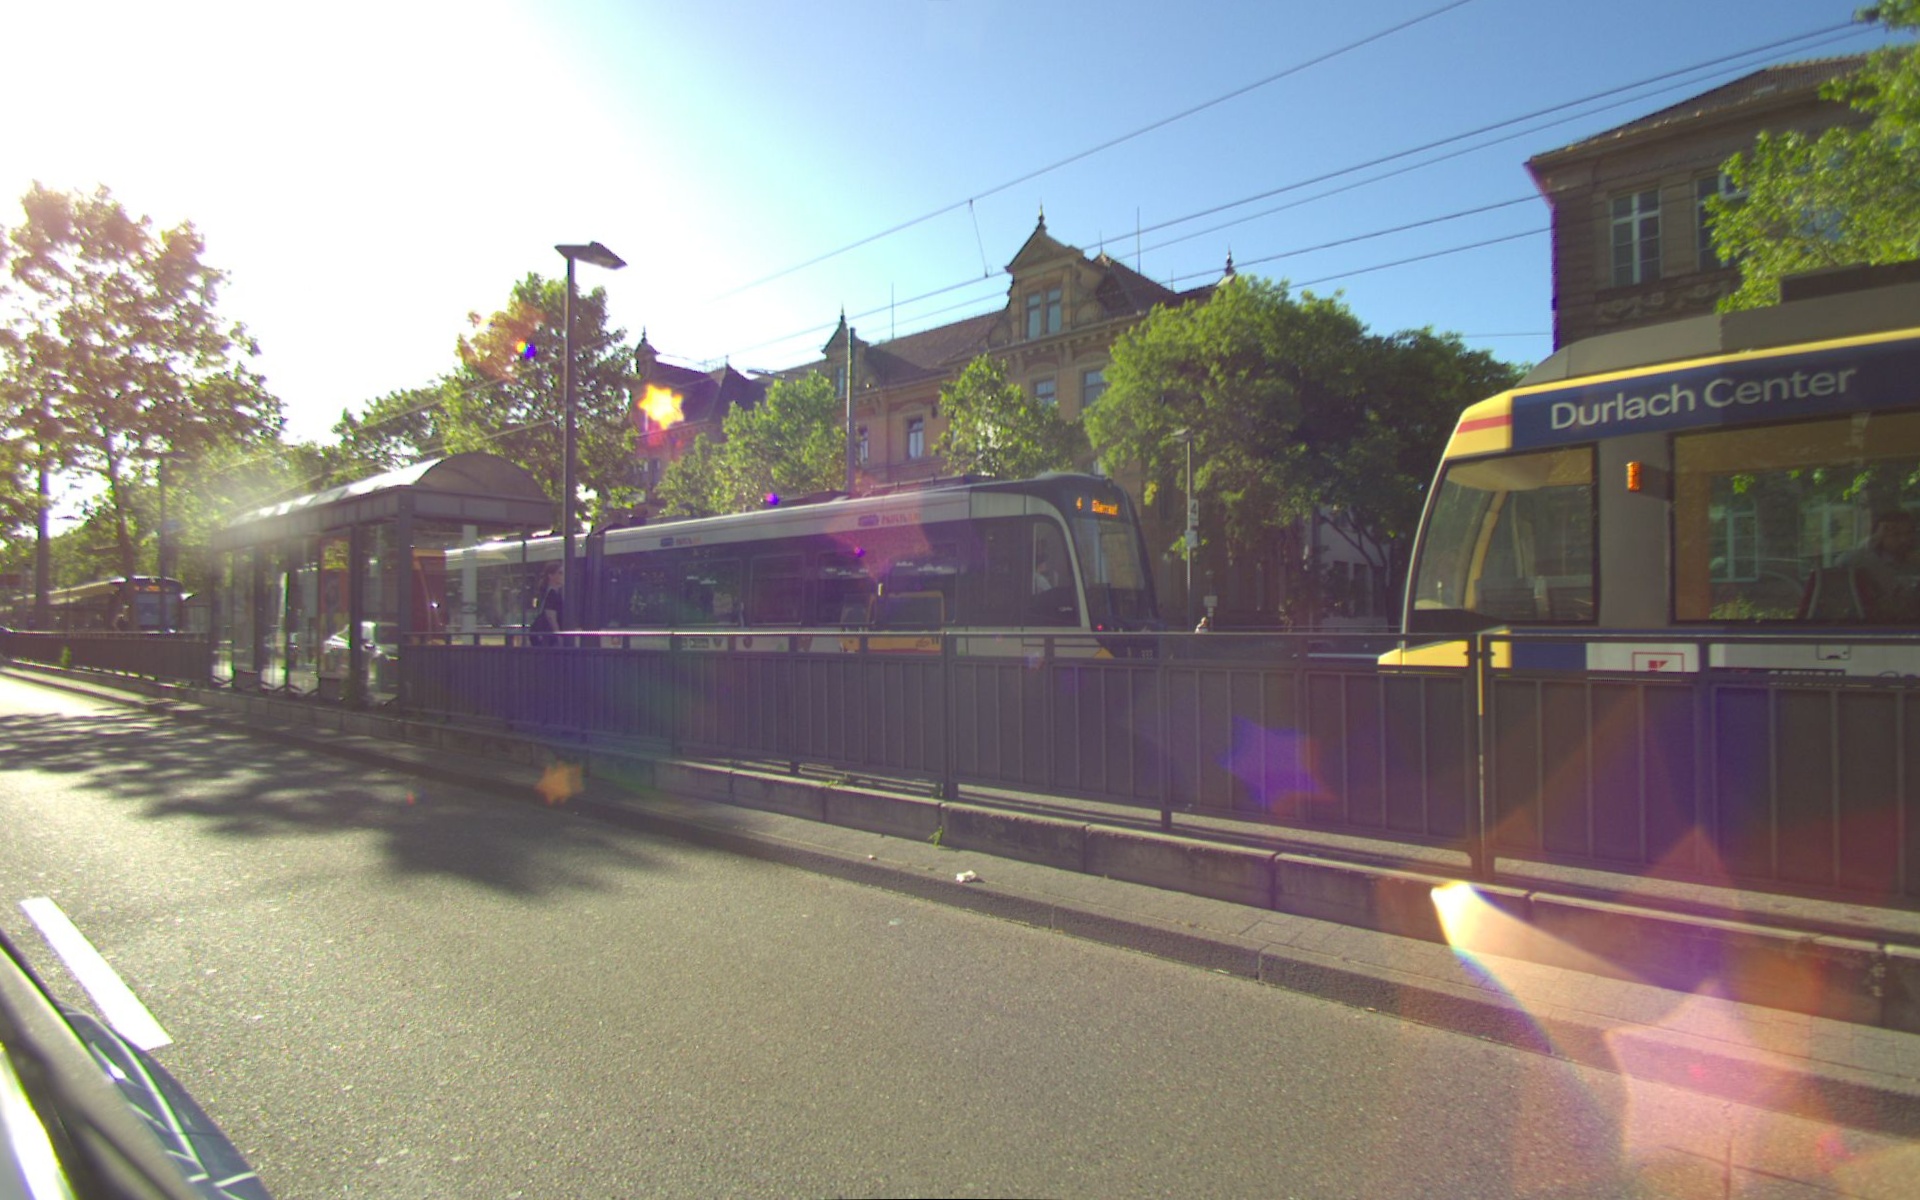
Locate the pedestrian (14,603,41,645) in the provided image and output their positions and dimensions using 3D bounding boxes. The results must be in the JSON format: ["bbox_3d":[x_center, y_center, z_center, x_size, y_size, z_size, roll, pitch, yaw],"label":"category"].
[{"bbox_3d":[-37.155,0.963,40.328,0.761,1.648,0.691,-2,-2,41],"label":"pedestrian"}]

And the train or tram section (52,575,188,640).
[{"bbox_3d":[-39.209,0.501,46.911,15.668,2.584,2.535,-2,-2,42],"label":"train or tram section"}]

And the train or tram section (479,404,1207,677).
[{"bbox_3d":[-4.106,-0.531,19.937,18.207,3.460,2.819,-2,-1,42],"label":"train or tram section"}]

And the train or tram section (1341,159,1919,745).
[{"bbox_3d":[9.855,-0.883,3.655,15.886,3.284,2.884,-1,1,41],"label":"train or tram section"}]

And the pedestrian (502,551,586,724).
[{"bbox_3d":[-4.155,0.364,10.118,0.621,1.652,0.560,-2,-1,43],"label":"pedestrian"}]

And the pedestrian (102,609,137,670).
[{"bbox_3d":[-24.215,1.136,29.170,0.624,1.723,0.674,-2,-2,41],"label":"pedestrian"}]

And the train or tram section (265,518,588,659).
[{"bbox_3d":[-17.716,-0.061,32.088,18.268,3.460,2.840,-2,-1,42],"label":"train or tram section"}]

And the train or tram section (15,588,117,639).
[{"bbox_3d":[-50.693,0.866,57.131,15.067,2.551,2.535,-2,-2,42],"label":"train or tram section"}]
